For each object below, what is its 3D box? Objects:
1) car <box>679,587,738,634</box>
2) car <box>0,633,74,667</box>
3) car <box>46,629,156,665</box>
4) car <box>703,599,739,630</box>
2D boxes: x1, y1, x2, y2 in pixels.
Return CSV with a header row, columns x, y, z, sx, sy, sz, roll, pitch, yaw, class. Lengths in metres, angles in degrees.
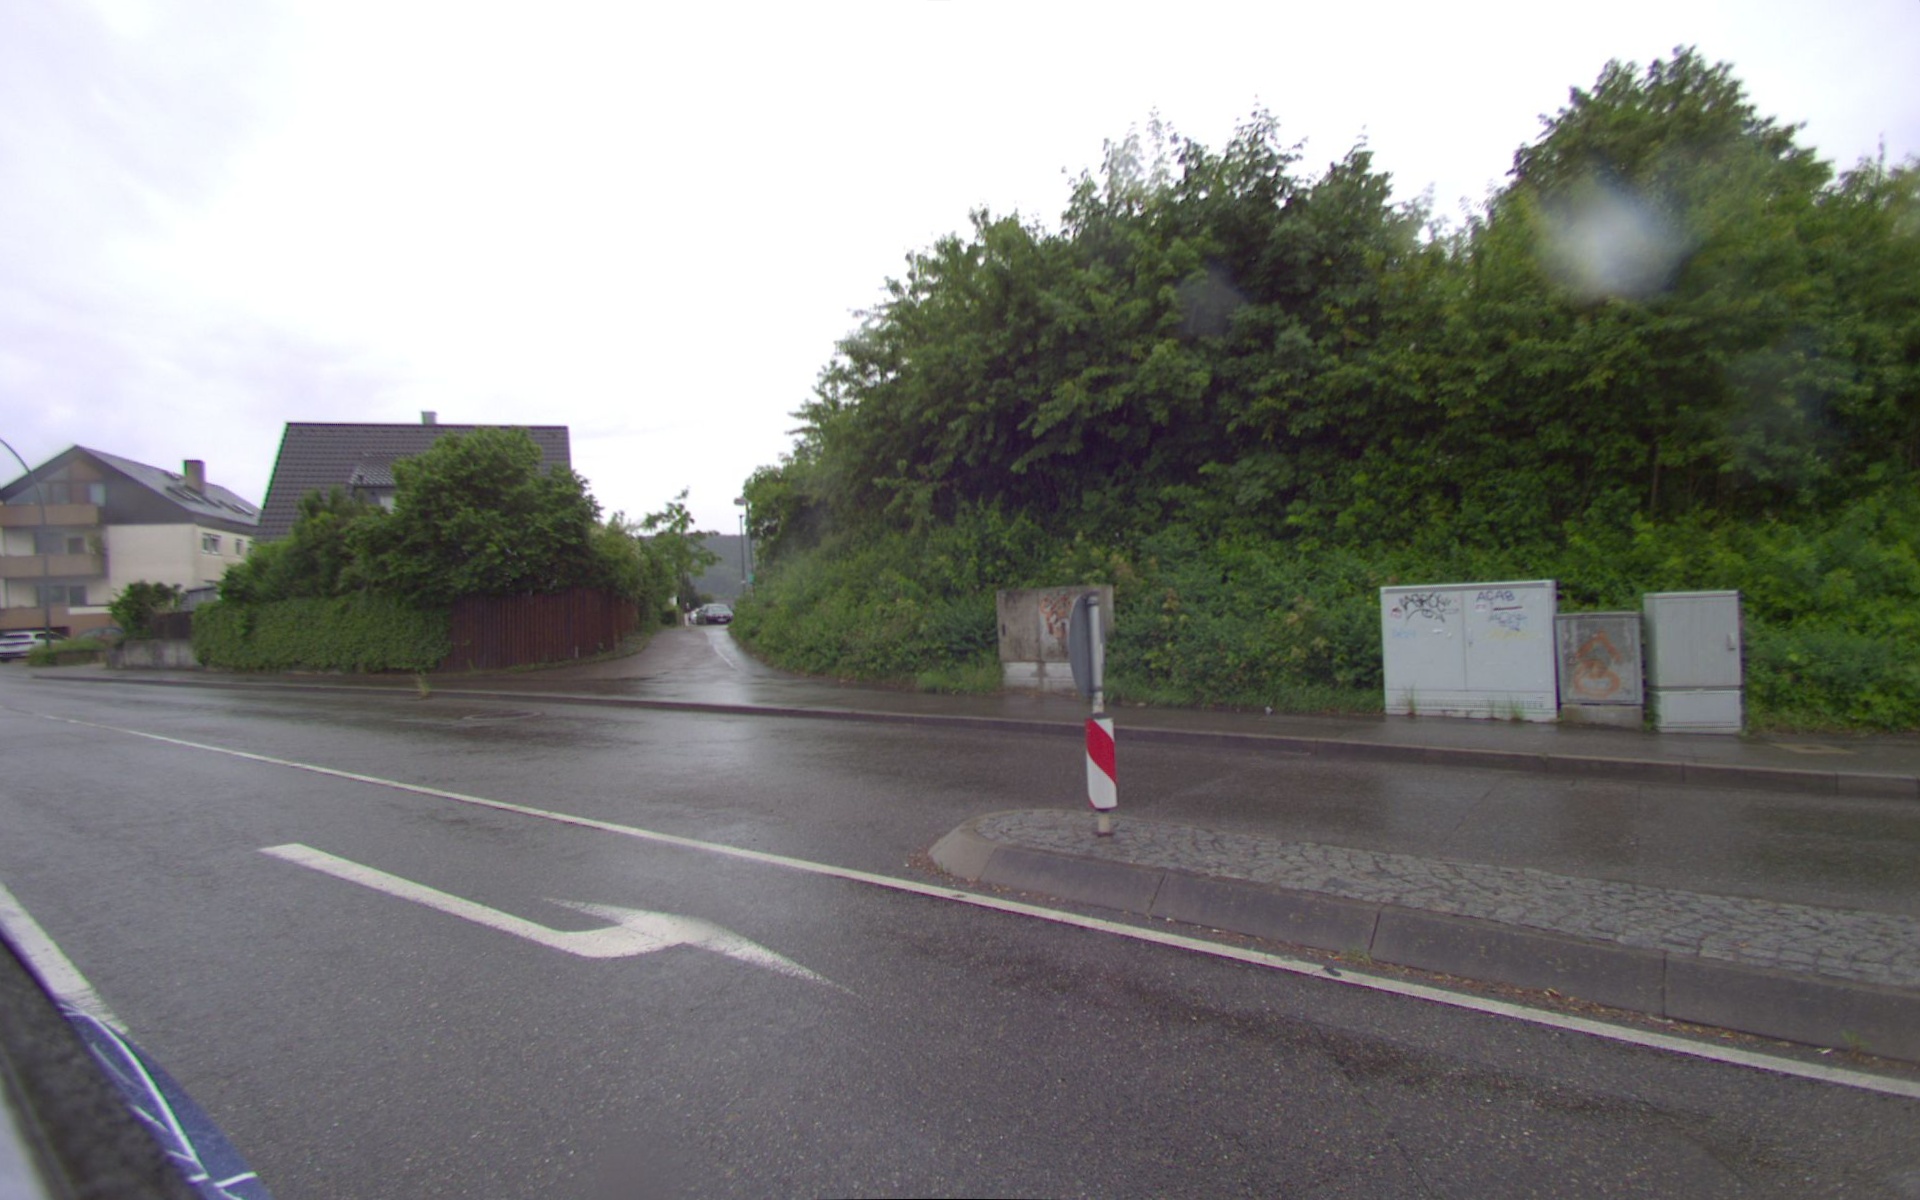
x,y,z,sx,sy,sz,roll,pitch,yaw,class
-9.161,0.367,37.046,1.683,1.600,3.668,-1,0,-8,car
-46.764,2.507,50.933,1.837,1.530,4.012,-2,0,-18,car
-41.120,2.219,48.535,3.609,1.530,1.759,-2,0,-15,car
-15.576,0.945,66.167,1.968,1.873,4.008,-2,0,-9,car
